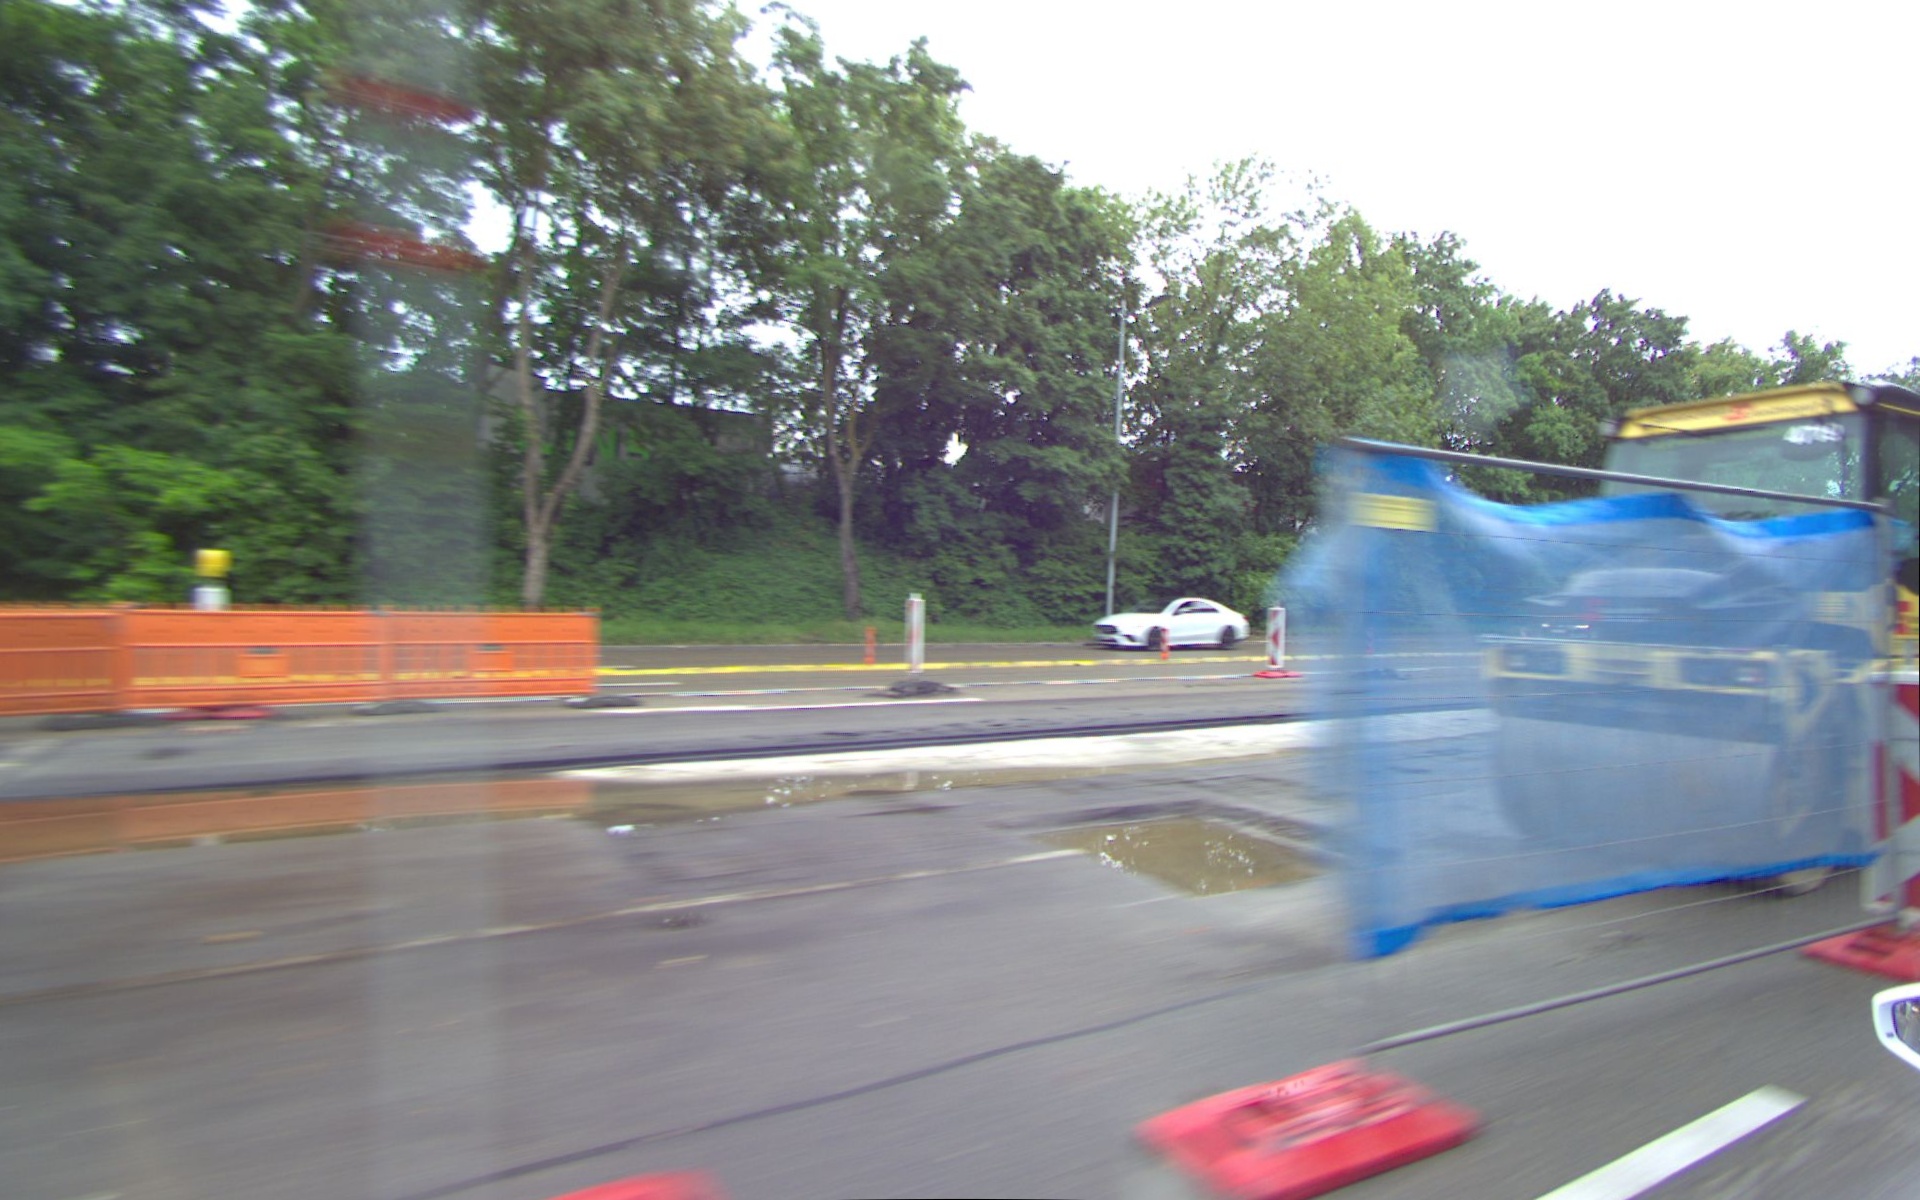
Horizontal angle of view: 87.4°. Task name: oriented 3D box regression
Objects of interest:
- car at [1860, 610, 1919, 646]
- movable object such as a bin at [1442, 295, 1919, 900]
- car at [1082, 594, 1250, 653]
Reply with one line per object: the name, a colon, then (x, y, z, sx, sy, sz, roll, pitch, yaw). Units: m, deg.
car: (40.529, 1.165, 43.347, 4.000, 1.423, 1.597, 1, 2, -35)
movable object such as a bin: (5.865, 0.018, 7.125, 5.184, 3.025, 1.795, 1, 1, -31)
car: (5.598, 0.612, 27.169, 4.418, 1.445, 1.775, 1, 1, -31)
